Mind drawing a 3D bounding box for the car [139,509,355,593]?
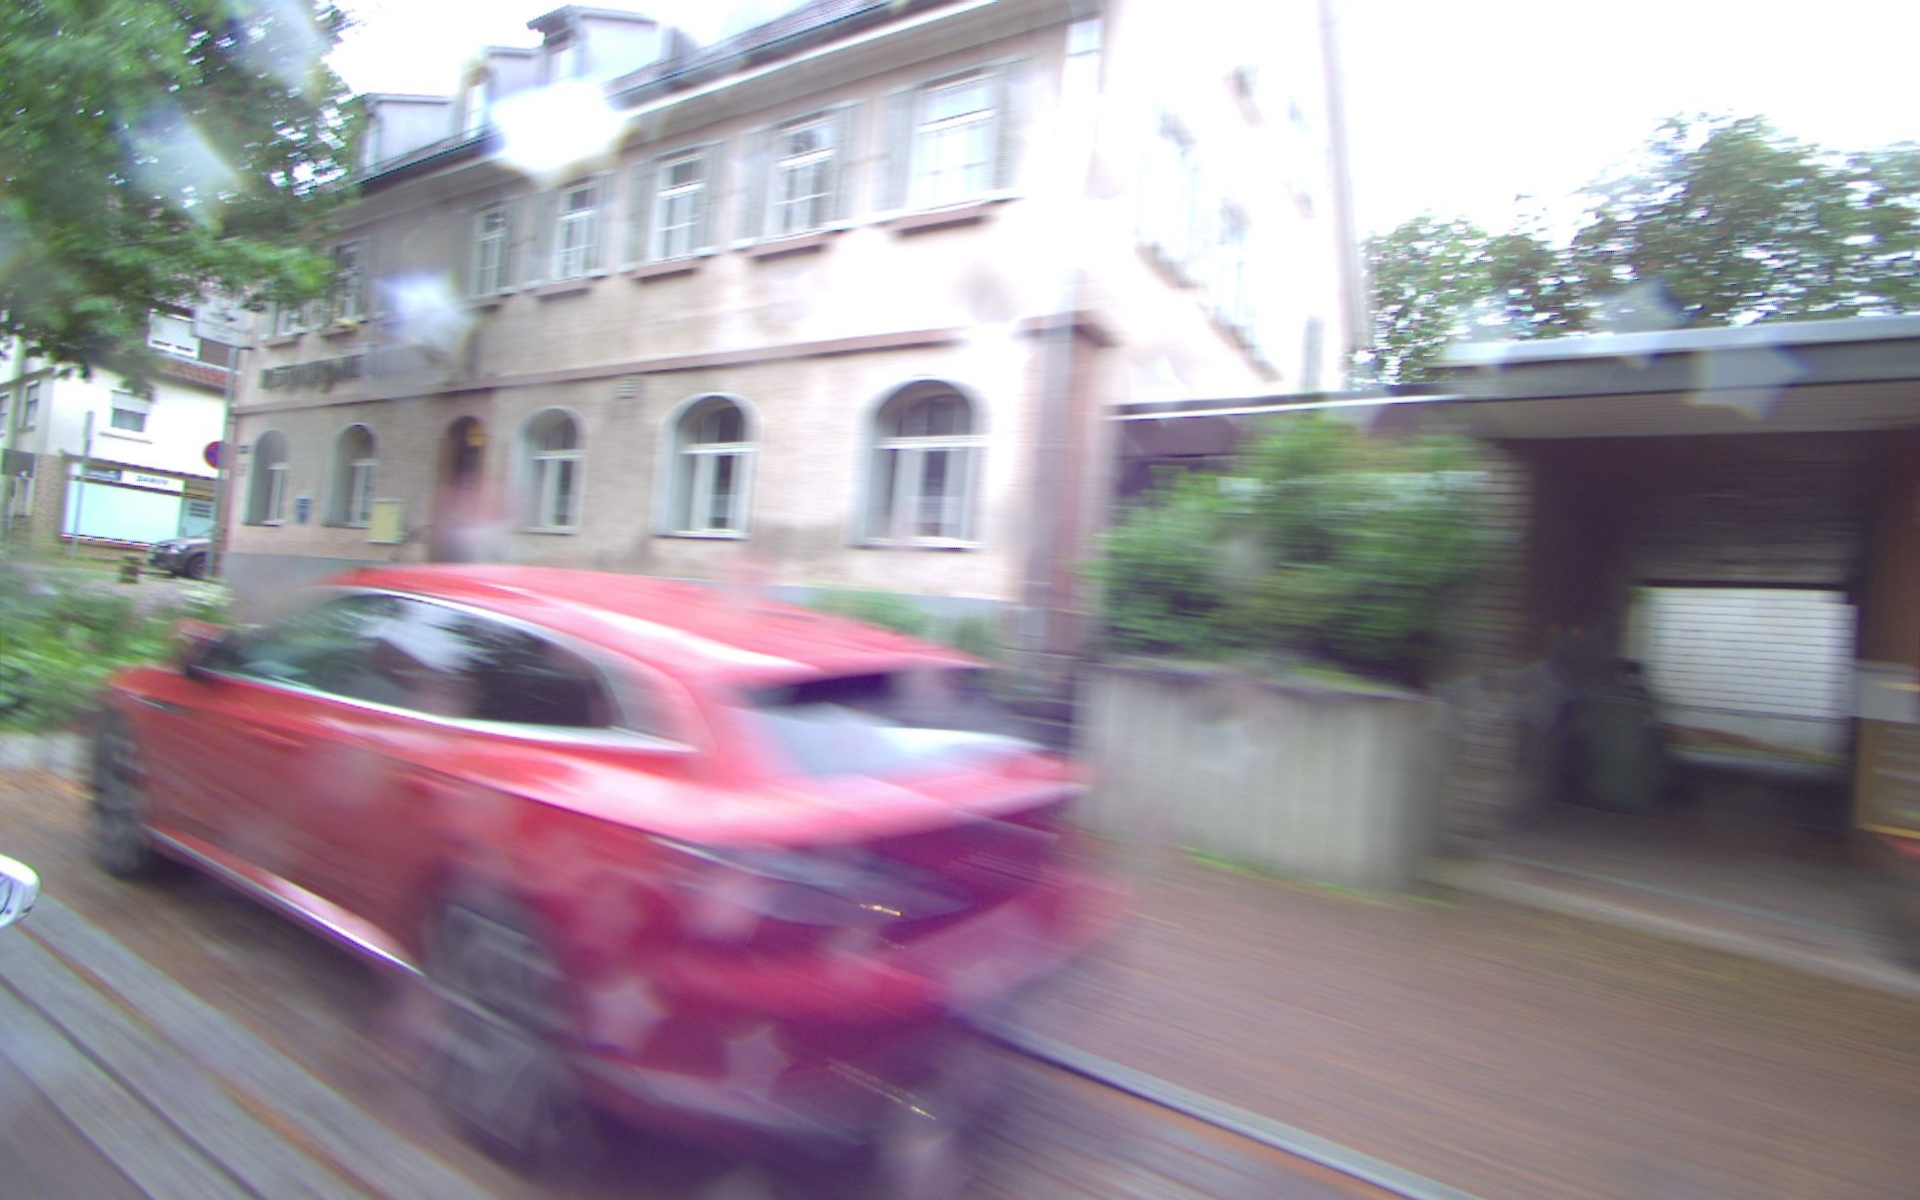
[{"bbox_3d":[-18.546,-1.232,26.320,1.812,1.603,4.180,6,-1,37],"label":"car"}]

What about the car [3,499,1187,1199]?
[{"bbox_3d":[-1.773,0.592,4.006,4.745,1.487,1.894,7,0,34],"label":"car"}]
